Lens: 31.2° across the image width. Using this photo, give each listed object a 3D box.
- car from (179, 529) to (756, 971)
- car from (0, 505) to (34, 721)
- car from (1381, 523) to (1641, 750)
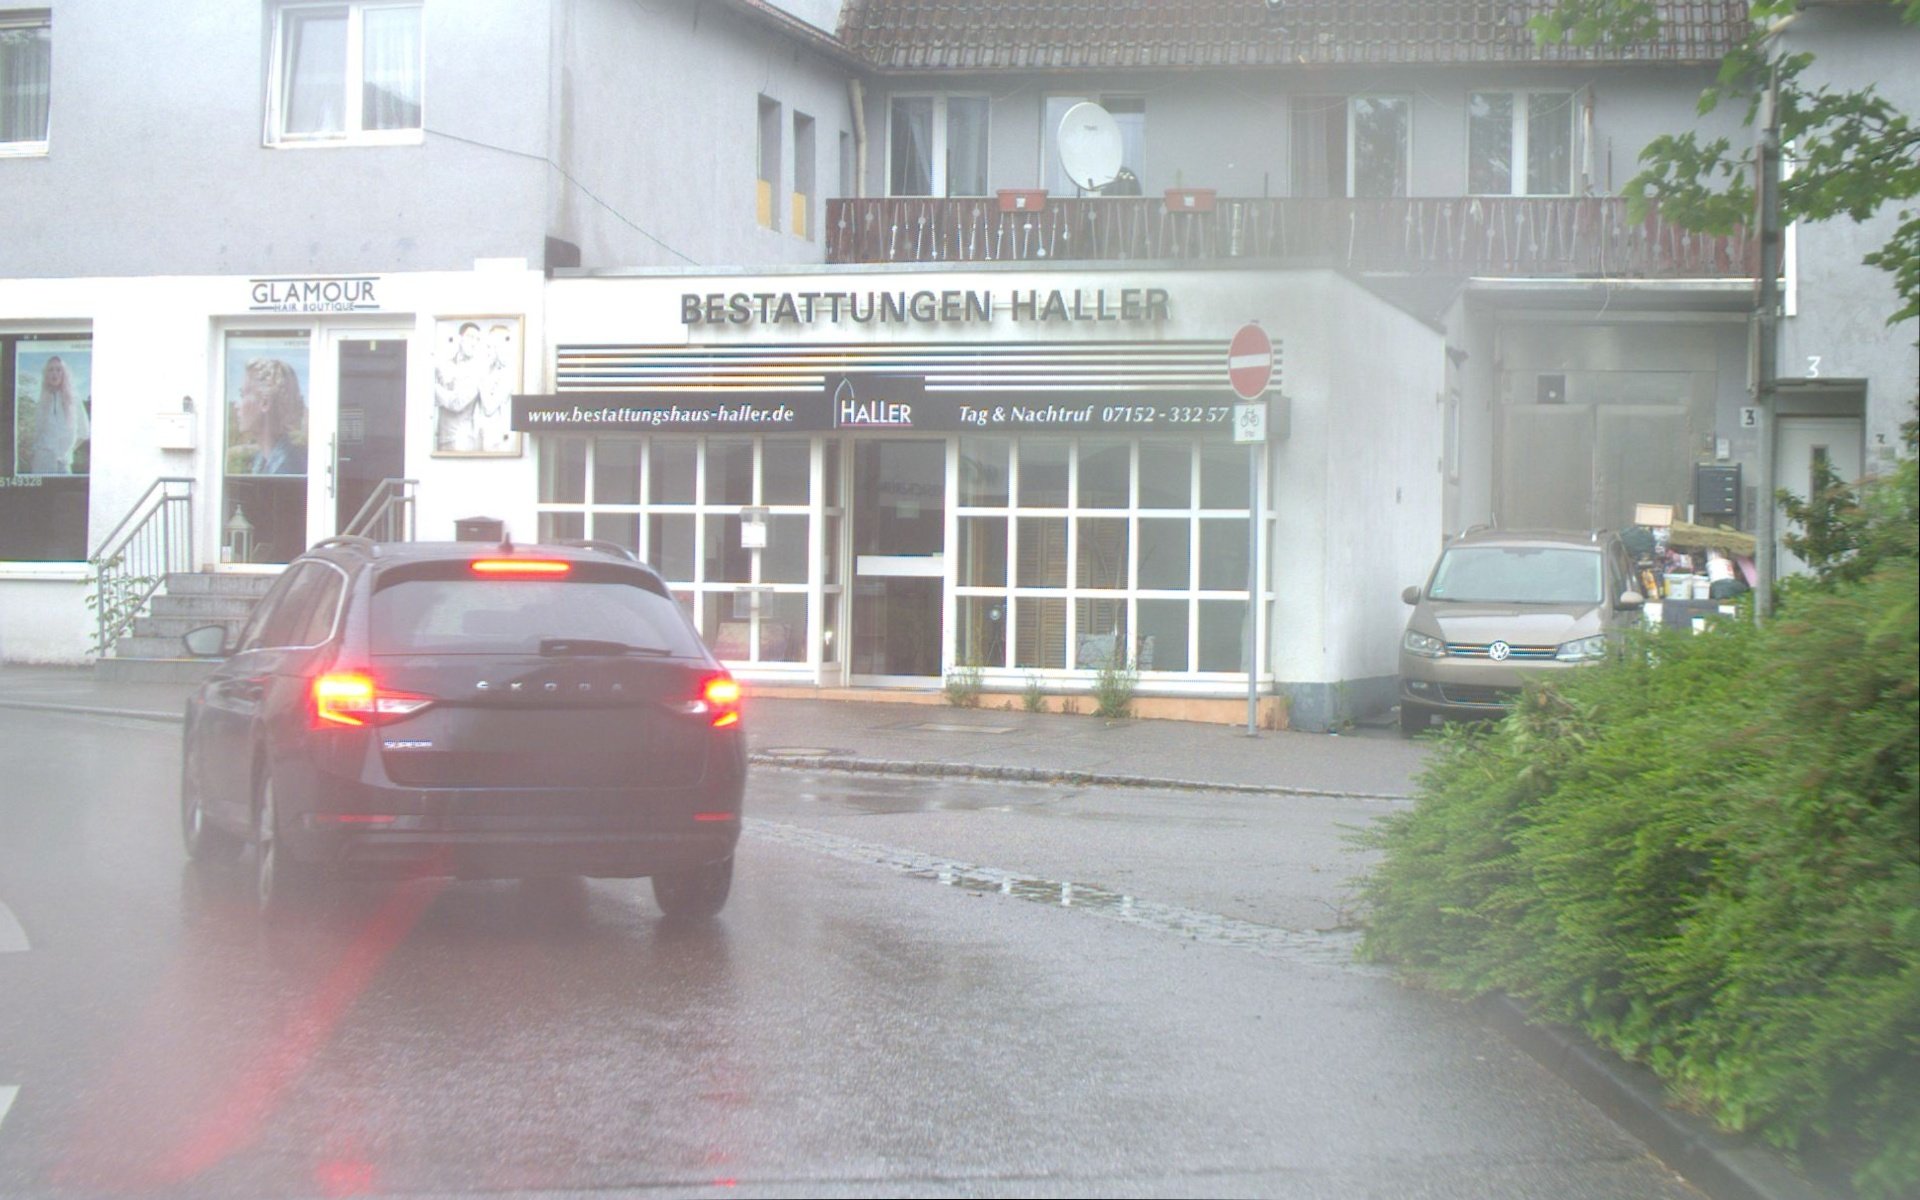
[{"bbox_3d":[-2.187,0.486,14.197,1.731,1.445,4.243,0,2,-17],"label":"car"},{"bbox_3d":[-8.674,0.056,25.153,1.790,1.512,4.238,-2,2,-45],"label":"car"},{"bbox_3d":[4.879,0.236,29.974,1.925,1.722,4.666,1,2,13],"label":"car"}]
